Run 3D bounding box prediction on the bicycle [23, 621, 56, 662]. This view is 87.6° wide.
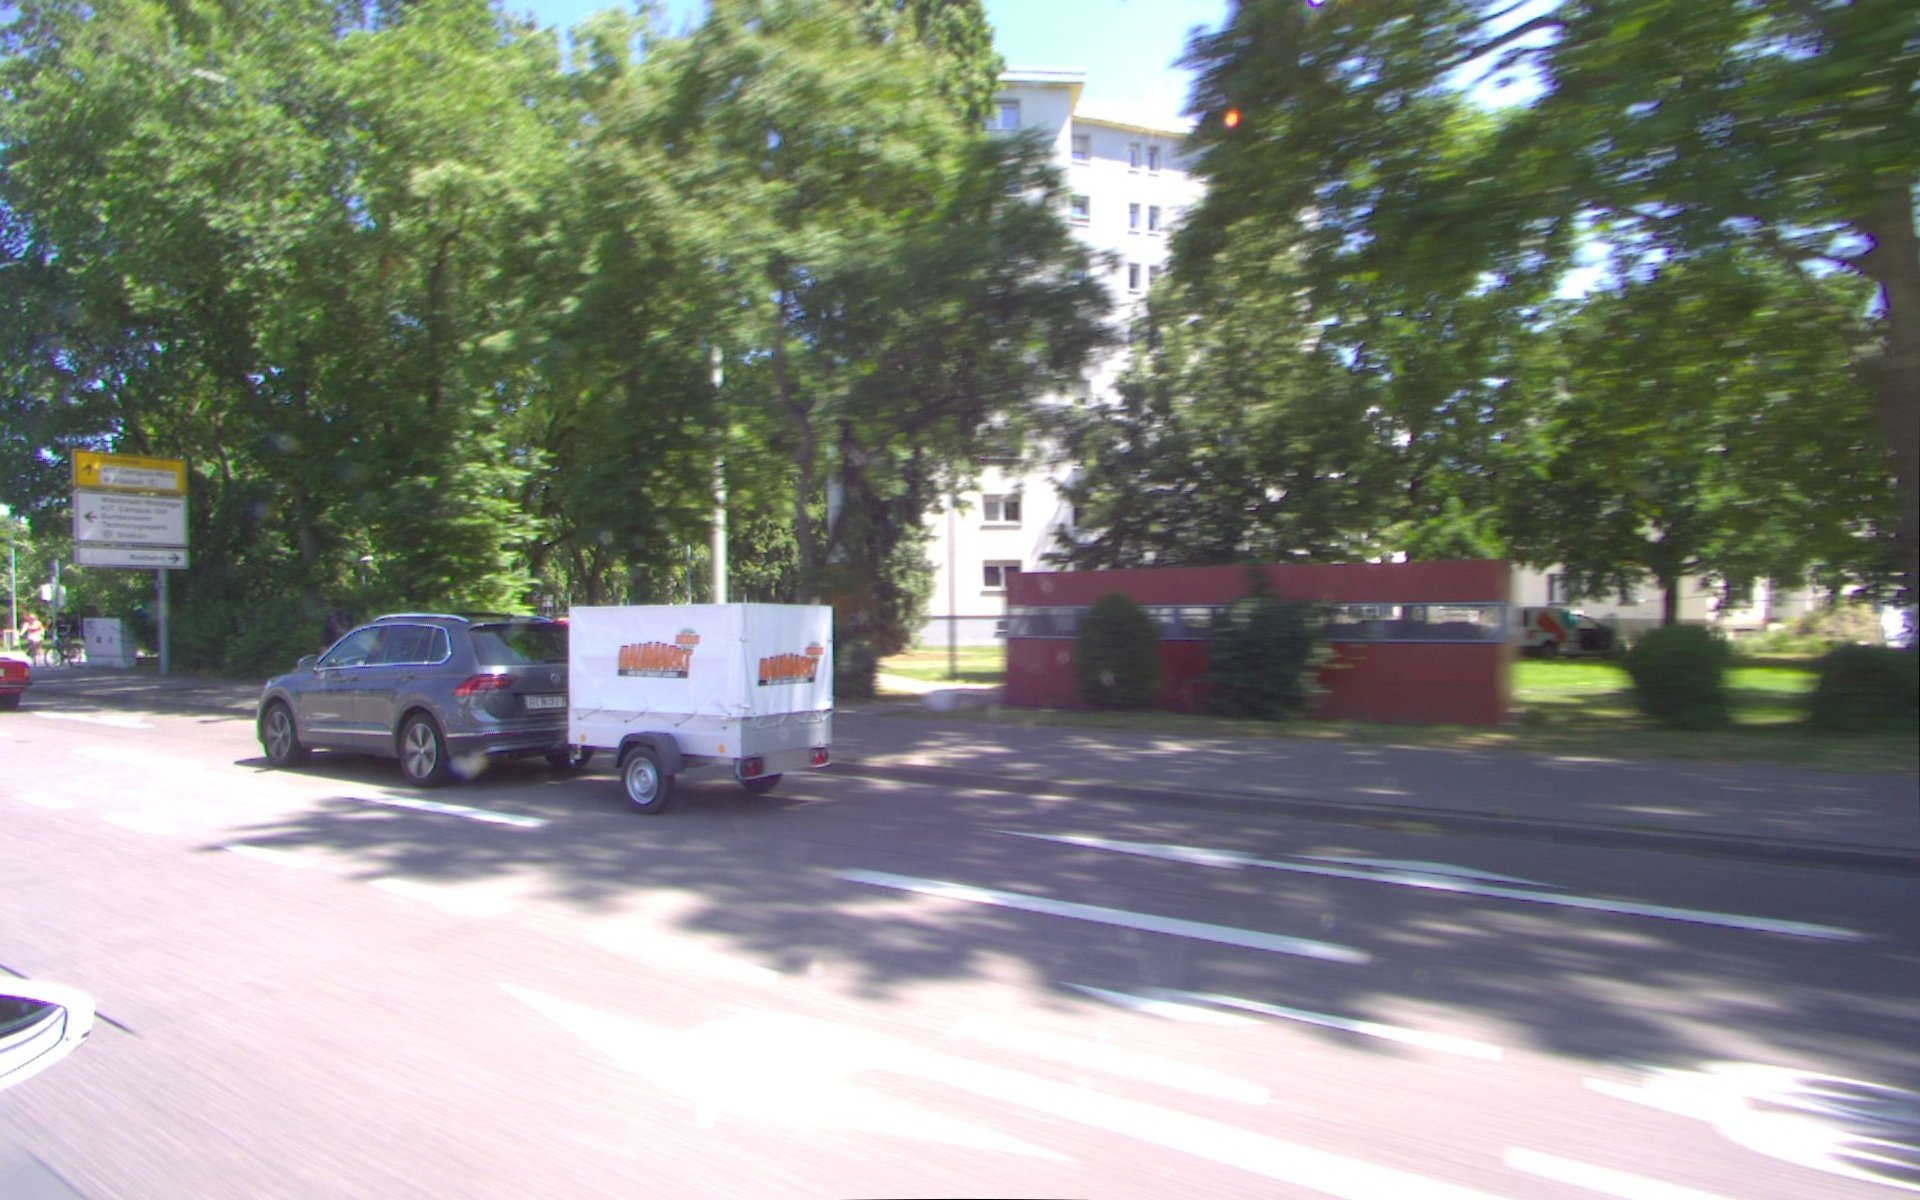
[{"bbox_3d":[-31.082,1.370,33.792,1.608,1.322,0.640,-1,2,43],"label":"bicycle"}]

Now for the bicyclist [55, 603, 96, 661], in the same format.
[{"bbox_3d":[-27.472,0.982,31.129,0.715,1.726,0.676,-3,2,-25],"label":"bicyclist"}]

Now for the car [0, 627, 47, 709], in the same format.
[{"bbox_3d":[-18.438,1.183,18.136,4.203,1.414,1.653,0,-2,31],"label":"car"}]

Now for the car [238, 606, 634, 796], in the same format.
[{"bbox_3d":[-5.647,0.933,10.648,4.333,1.675,1.698,0,-2,31],"label":"car"}]

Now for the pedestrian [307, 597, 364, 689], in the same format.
[{"bbox_3d":[-12.867,0.864,20.642,0.683,1.840,0.751,0,1,30],"label":"pedestrian"}]

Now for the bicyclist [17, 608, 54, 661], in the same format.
[{"bbox_3d":[-31.088,1.149,33.665,0.671,1.750,0.797,0,2,42],"label":"bicyclist"}]

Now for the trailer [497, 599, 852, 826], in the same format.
[{"bbox_3d":[-2.529,0.874,8.831,2.813,1.690,1.467,0,-2,30],"label":"trailer"}]

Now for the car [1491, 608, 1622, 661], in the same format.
[{"bbox_3d":[20.205,1.190,33.963,3.681,1.723,1.739,1,-2,-14],"label":"car"}]

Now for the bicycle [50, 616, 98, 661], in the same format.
[{"bbox_3d":[-27.414,1.169,31.006,0.715,1.313,1.299,-3,1,-25],"label":"bicycle"}]
